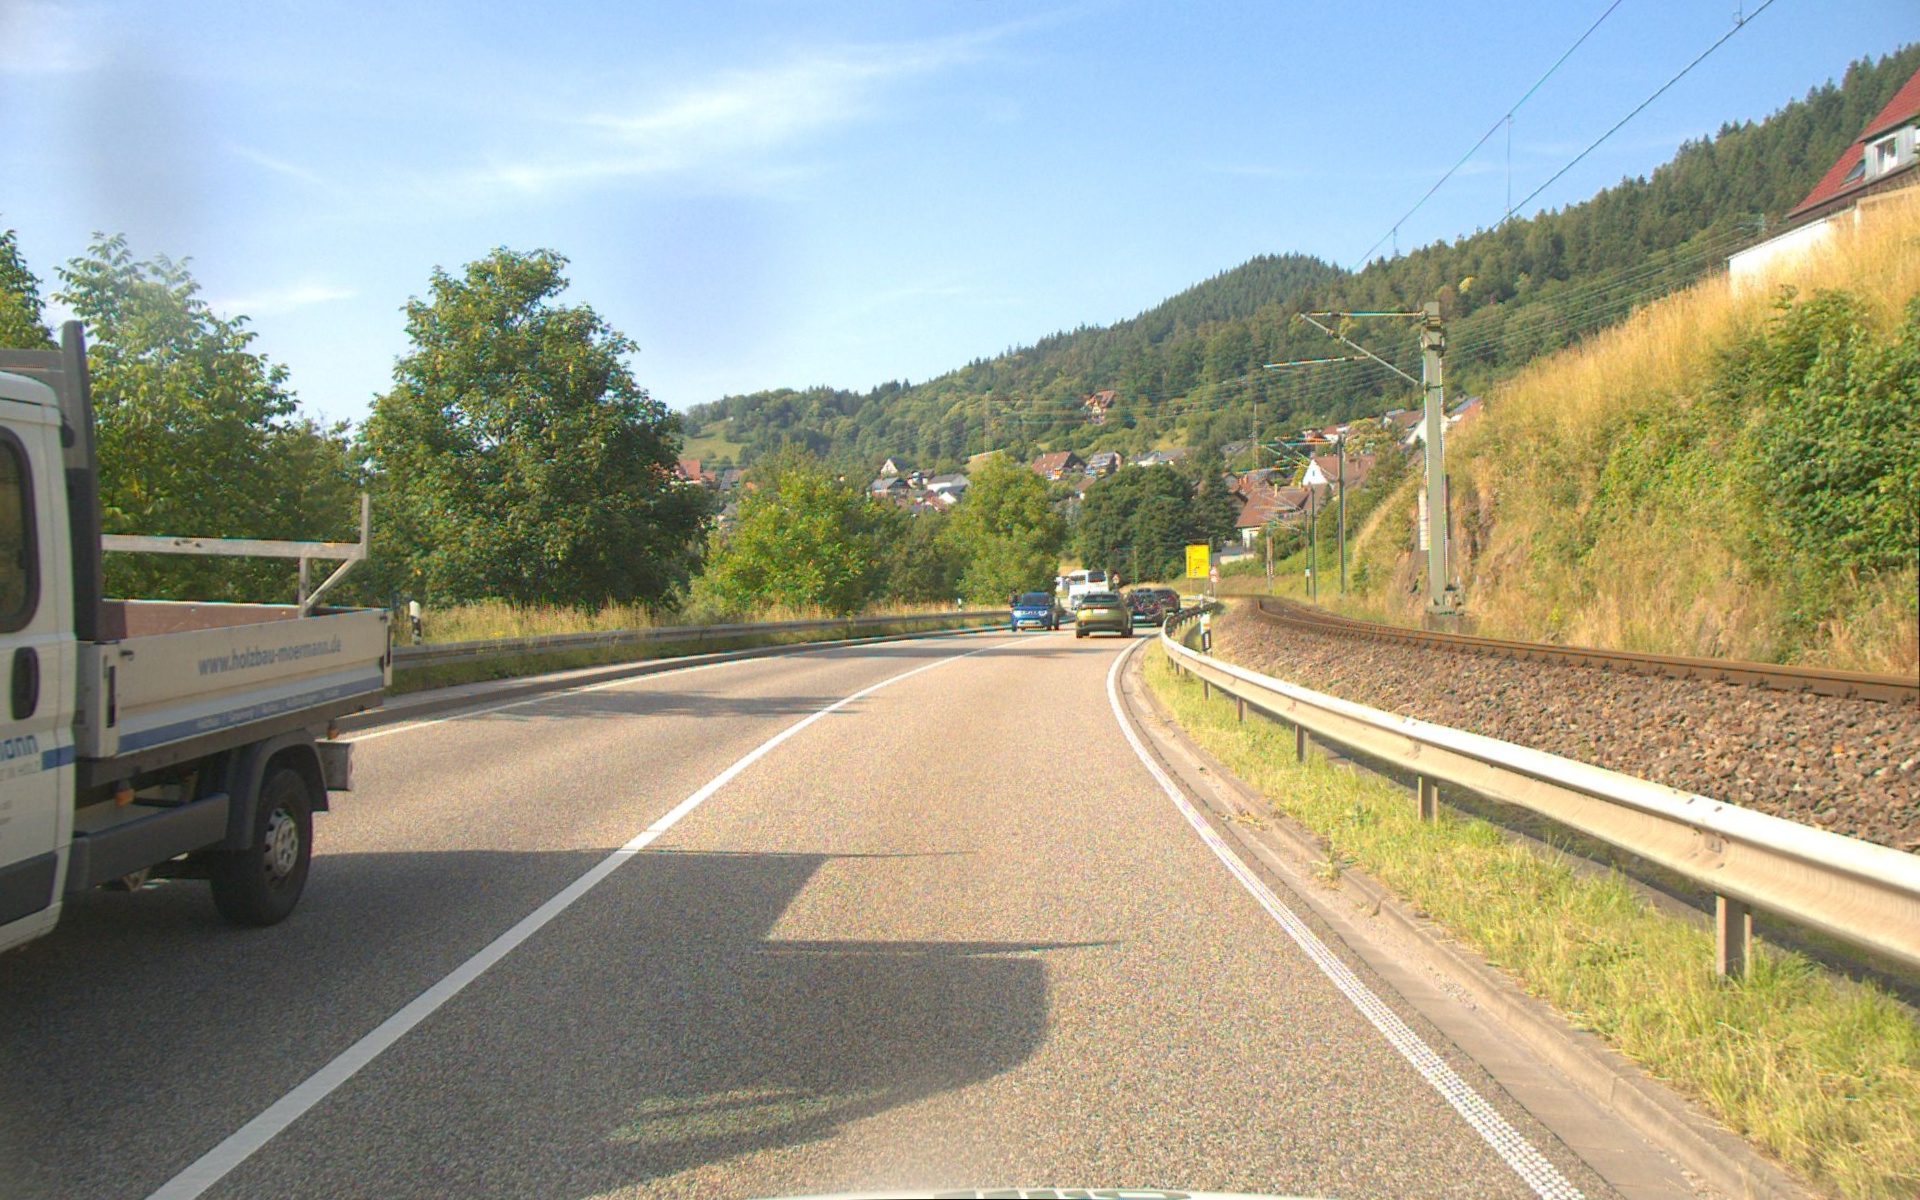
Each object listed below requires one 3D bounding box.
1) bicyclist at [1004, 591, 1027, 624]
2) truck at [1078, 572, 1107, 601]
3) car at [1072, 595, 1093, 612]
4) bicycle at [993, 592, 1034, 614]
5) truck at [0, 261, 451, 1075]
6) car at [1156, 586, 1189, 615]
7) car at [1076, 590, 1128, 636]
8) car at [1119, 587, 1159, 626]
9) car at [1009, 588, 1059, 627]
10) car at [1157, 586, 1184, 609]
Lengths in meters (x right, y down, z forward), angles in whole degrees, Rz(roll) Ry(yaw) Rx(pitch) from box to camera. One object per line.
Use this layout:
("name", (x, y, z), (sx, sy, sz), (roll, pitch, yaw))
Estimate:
("bicyclist", (2.749, 0.359, 82.130), (1.016, 1.614, 0.556), (1, 1, 41))
("truck", (14.809, -1.519, 185.514), (2.657, 3.138, 6.107), (0, 0, -1))
("car", (11.941, 0.339, 161.130), (1.544, 1.505, 4.003), (4, 1, 10))
("bicycle", (2.643, 0.163, 82.223), (2.187, 1.064, 0.556), (1, 1, 40))
("truck", (-3.885, 0.186, 5.690), (2.112, 2.407, 6.746), (1, 0, 0))
("car", (12.613, 0.014, 98.023), (1.840, 1.716, 4.003), (0, 0, 9))
("car", (4.751, 0.404, 55.297), (1.678, 1.480, 4.003), (0, 0, 5))
("car", (7.550, 0.240, 69.529), (1.631, 1.586, 4.003), (0, 0, 7))
("car", (3.121, 0.295, 69.118), (1.714, 1.594, 4.003), (0, 0, 9))
("car", (15.417, -0.191, 121.078), (1.810, 1.553, 3.665), (-1, 0, 6))
